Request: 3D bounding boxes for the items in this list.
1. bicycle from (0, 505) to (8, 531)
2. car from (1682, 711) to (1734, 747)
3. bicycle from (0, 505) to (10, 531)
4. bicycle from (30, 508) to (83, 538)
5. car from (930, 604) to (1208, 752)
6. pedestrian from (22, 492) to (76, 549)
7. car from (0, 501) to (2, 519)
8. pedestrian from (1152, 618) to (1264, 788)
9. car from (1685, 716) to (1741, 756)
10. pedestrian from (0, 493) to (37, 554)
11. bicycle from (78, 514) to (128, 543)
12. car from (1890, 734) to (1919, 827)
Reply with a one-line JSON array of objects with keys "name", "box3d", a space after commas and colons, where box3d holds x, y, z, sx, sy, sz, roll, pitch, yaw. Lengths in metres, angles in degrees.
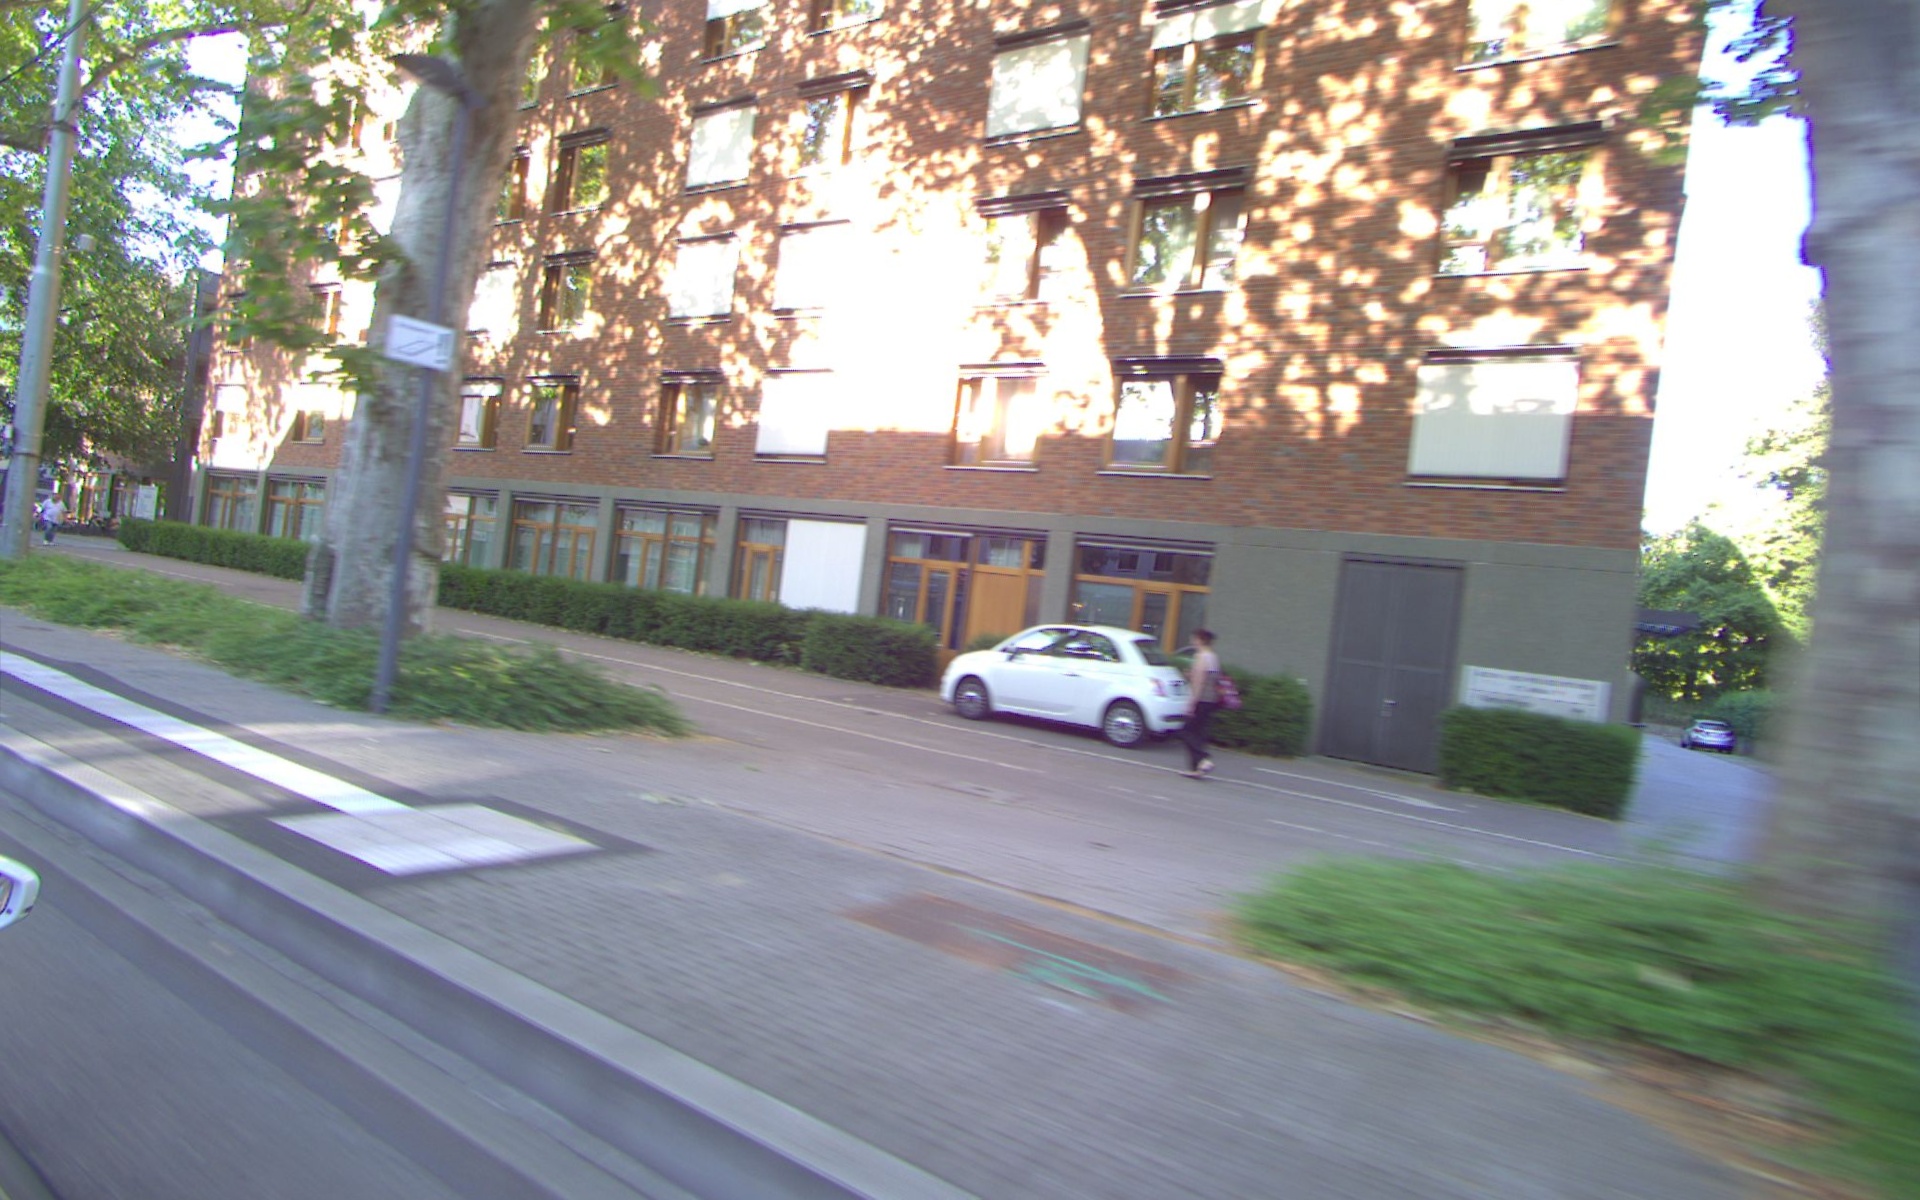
[{"name": "bicycle", "box3d": [-40.350, -3.500, 41.402, 1.558, 1.050, 0.499, 8, 0, -37]}, {"name": "car", "box3d": [39.782, 6.815, 53.572, 1.763, 1.583, 3.992, 7, -2, 33]}, {"name": "bicycle", "box3d": [-39.679, -3.431, 40.781, 1.558, 1.050, 0.474, 8, 0, -37]}, {"name": "bicycle", "box3d": [-38.489, -3.271, 42.878, 1.558, 1.050, 0.474, 8, 0, -37]}, {"name": "car", "box3d": [1.494, 1.033, 14.023, 3.359, 1.513, 1.603, 7, -1, 31]}, {"name": "pedestrian", "box3d": [-29.380, -2.560, 32.452, 0.873, 1.643, 0.973, 7, 0, 32]}, {"name": "car", "box3d": [-68.299, -6.411, 68.547, 1.837, 1.389, 3.992, 7, -1, 33]}, {"name": "pedestrian", "box3d": [2.710, 1.106, 10.966, 0.821, 1.689, 0.736, 7, 0, 31]}, {"name": "car", "box3d": [36.647, 6.570, 49.048, 1.763, 1.583, 3.992, 7, -2, 33]}, {"name": "pedestrian", "box3d": [-27.587, -2.235, 29.098, 0.873, 1.643, 0.973, 7, 0, 32]}, {"name": "bicycle", "box3d": [-37.671, -3.130, 44.257, 1.557, 1.050, 0.474, 8, 0, -36]}, {"name": "car", "box3d": [17.701, 3.273, 17.297, 1.764, 1.583, 3.991, 7, -2, 34]}]
